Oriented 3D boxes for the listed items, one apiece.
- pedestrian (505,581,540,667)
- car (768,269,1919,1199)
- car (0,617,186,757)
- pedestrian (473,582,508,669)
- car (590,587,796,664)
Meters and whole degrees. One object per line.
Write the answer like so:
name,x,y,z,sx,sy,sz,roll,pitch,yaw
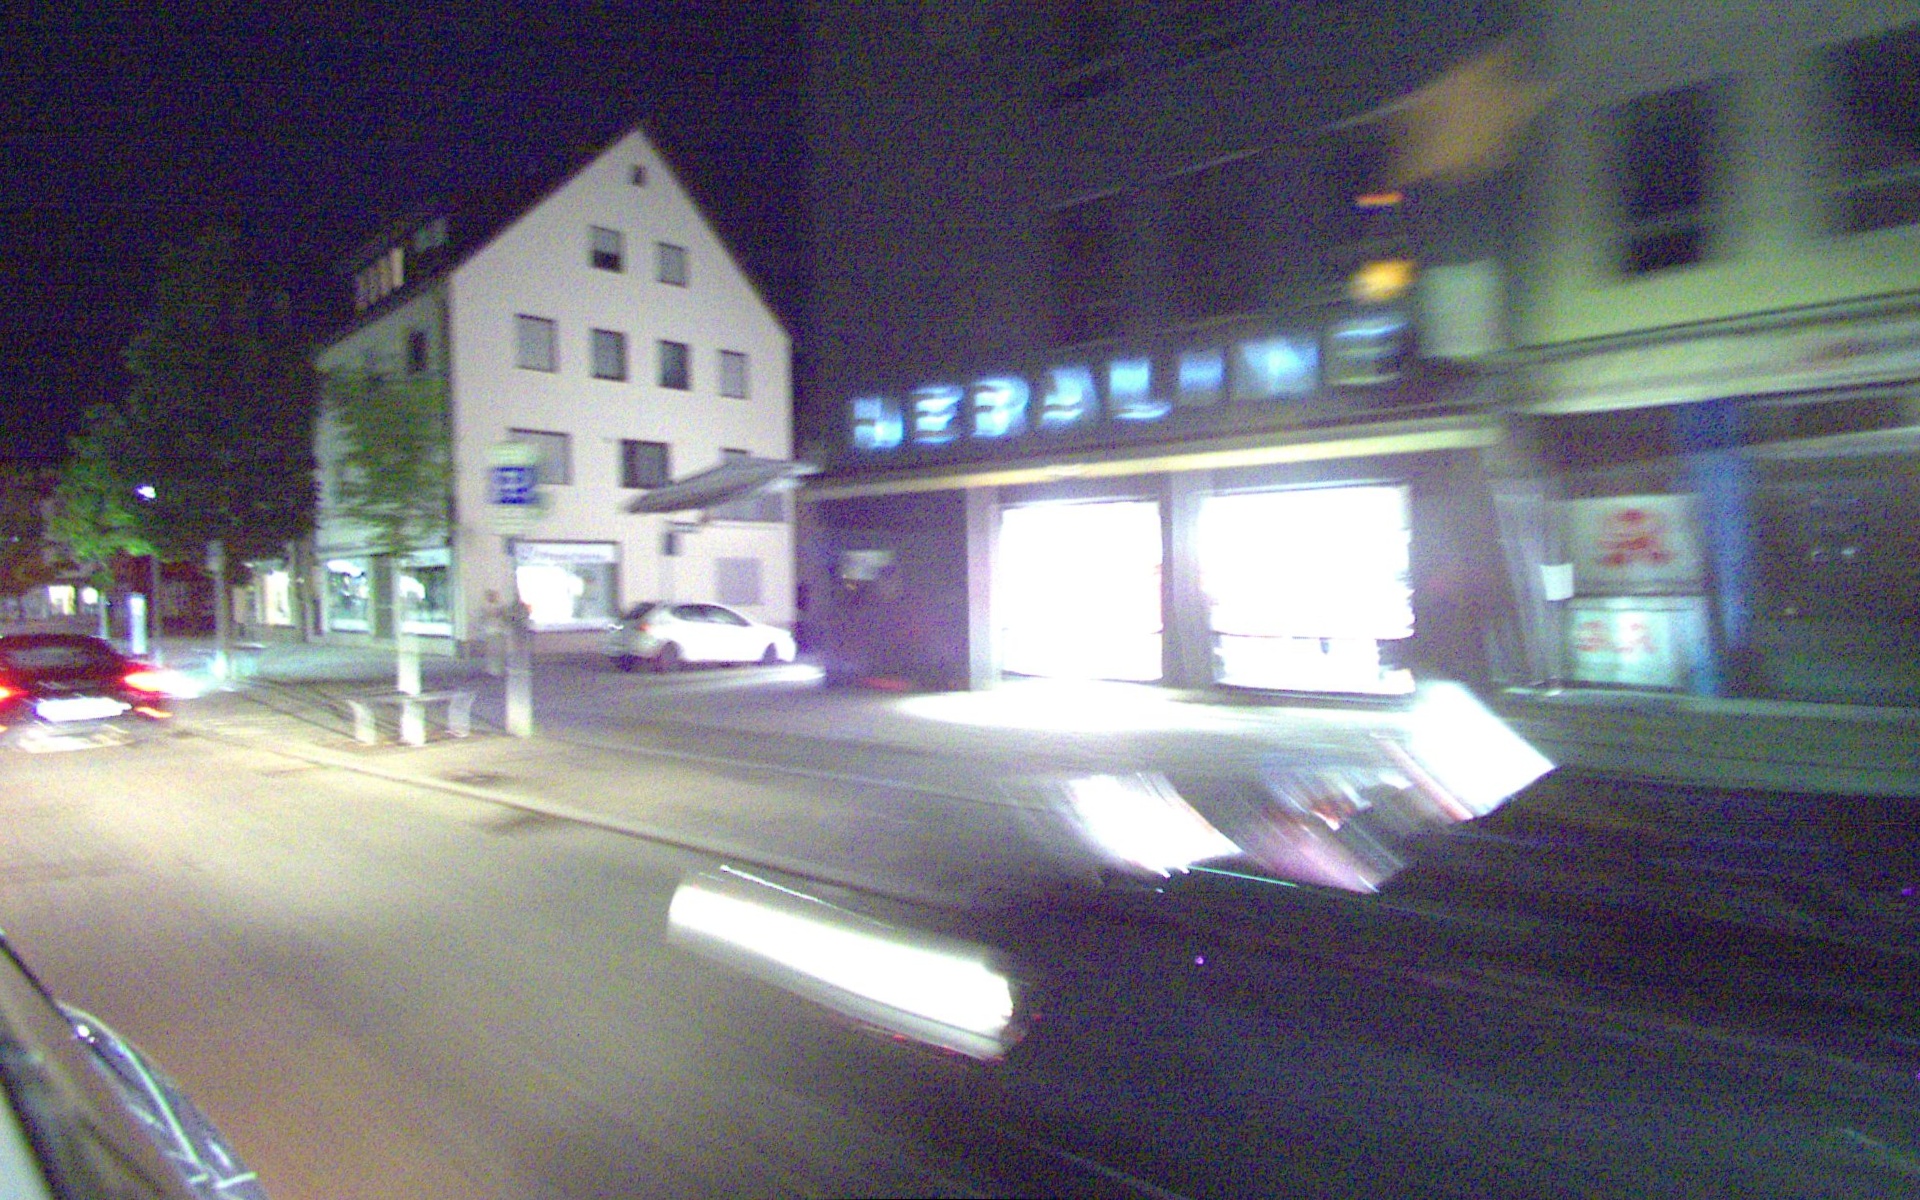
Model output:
pedestrian,-8.369,0.442,19.342,0.520,1.600,0.668,-1,0,-28
car,1.823,0.517,1.227,4.305,1.657,1.730,-1,0,41
car,-10.299,0.865,11.271,3.912,1.288,1.799,-1,0,39
pedestrian,-8.852,0.465,19.076,0.520,1.600,0.668,-1,0,-28
car,-5.347,0.476,20.596,1.652,1.427,3.783,-1,-1,41
